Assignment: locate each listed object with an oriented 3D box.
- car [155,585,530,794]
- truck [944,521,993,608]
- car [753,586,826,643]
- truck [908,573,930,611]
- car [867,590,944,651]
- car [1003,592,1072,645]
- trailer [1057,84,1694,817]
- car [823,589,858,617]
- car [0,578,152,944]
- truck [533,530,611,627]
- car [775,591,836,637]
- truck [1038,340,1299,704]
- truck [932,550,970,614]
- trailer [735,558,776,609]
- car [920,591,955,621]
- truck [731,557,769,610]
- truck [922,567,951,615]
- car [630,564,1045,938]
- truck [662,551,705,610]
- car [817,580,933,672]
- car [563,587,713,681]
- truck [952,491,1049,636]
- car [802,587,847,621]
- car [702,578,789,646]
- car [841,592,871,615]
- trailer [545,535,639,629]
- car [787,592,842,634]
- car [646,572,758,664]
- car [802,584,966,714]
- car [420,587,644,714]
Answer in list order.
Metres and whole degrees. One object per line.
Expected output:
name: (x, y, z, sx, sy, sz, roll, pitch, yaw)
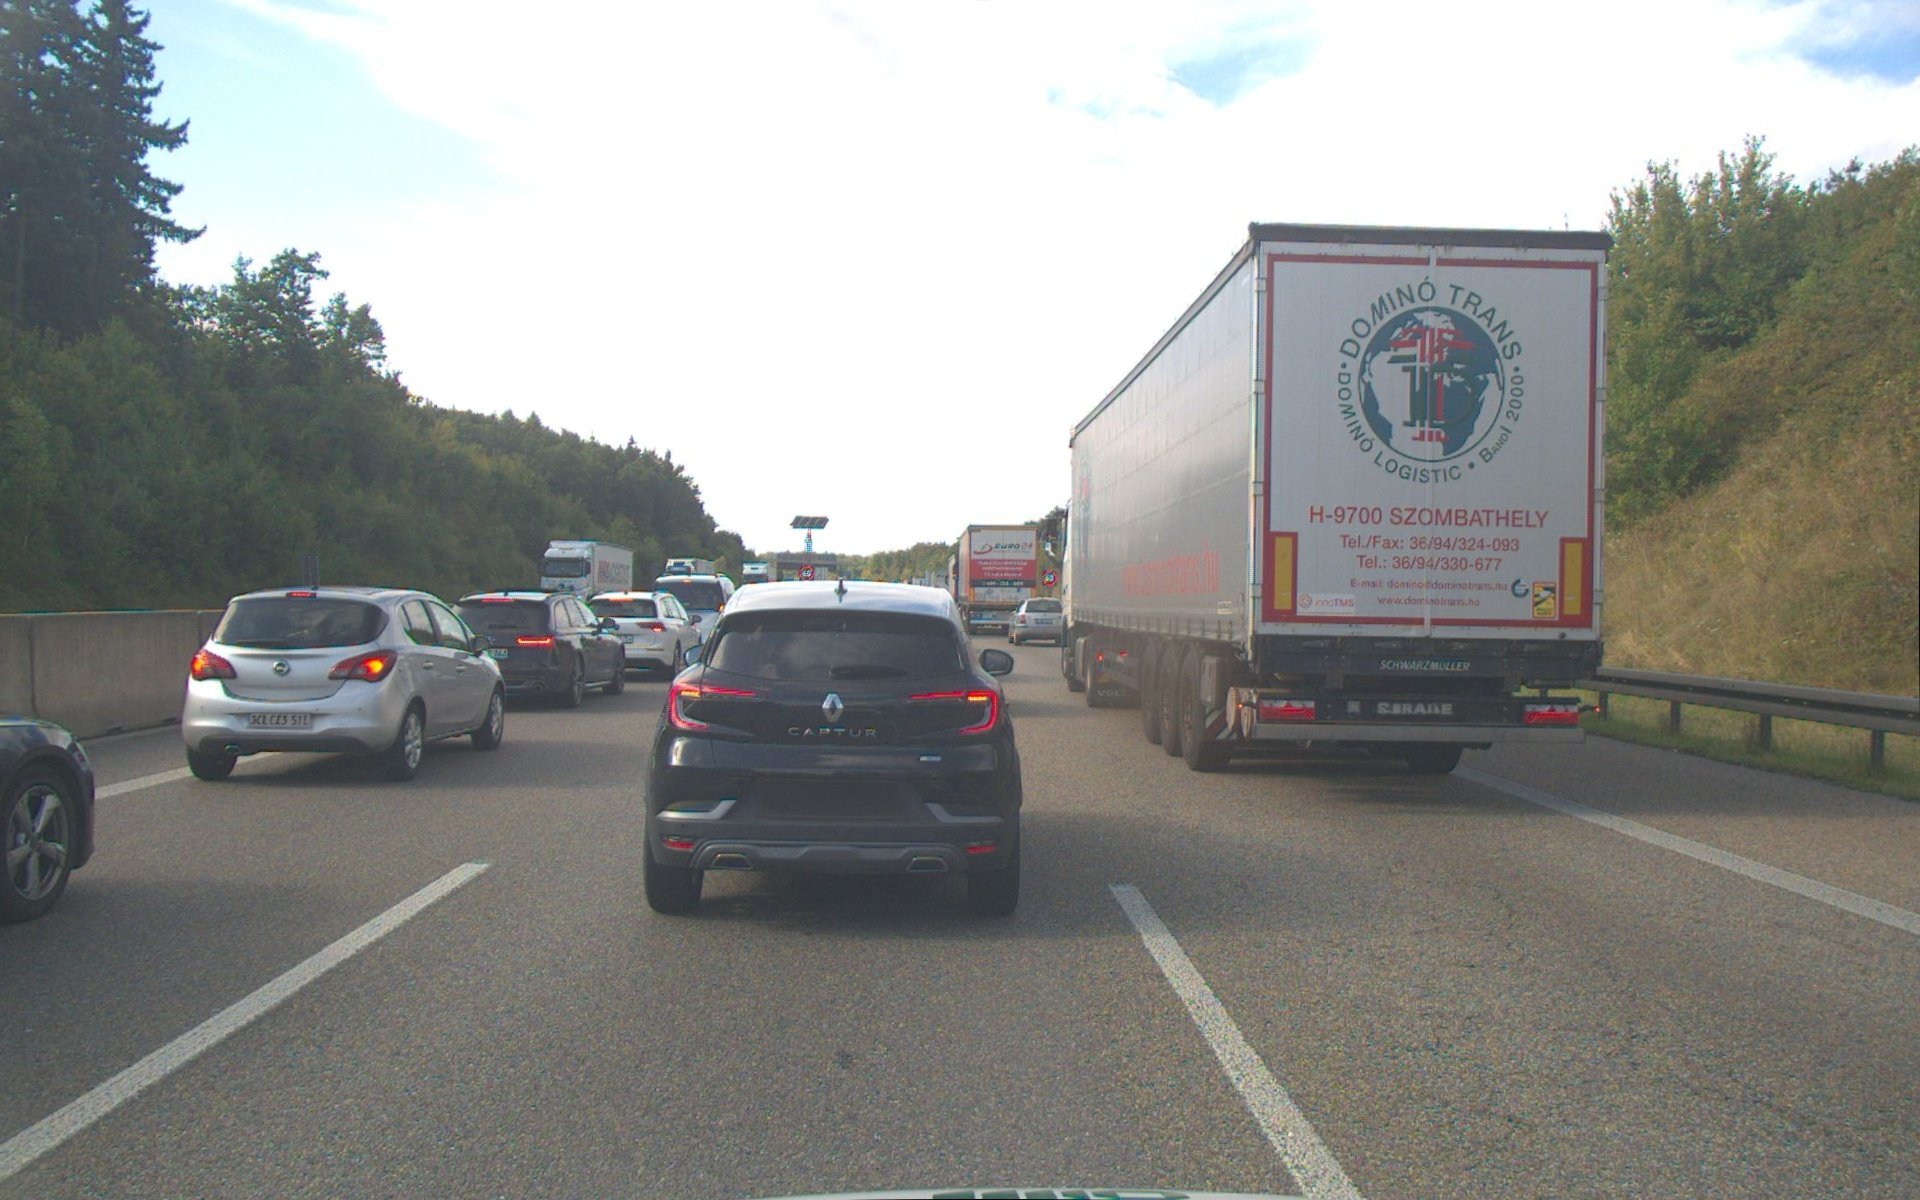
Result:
car: (-4.943, 0.623, 13.864, 1.711, 1.491, 4.040, 0, 0, -1)
truck: (0.507, -2.290, 114.278, 3.102, 5.601, 12.735, 1, 0, -1)
car: (-5.464, 0.467, 53.433, 1.953, 1.752, 3.999, 1, 0, -1)
truck: (-6.252, -1.156, 255.874, 3.102, 5.601, 12.735, 1, 0, -1)
car: (-1.425, 0.537, 44.517, 1.953, 1.540, 3.999, 1, 0, -1)
car: (2.365, 0.555, 51.053, 1.768, 1.559, 3.923, 1, 0, -2)
trailer: (3.125, -0.999, 17.463, 2.941, 4.742, 13.285, 1, 0, -2)
car: (-7.448, 0.176, 103.499, 1.953, 1.641, 3.999, 1, 0, -1)
car: (-4.836, 0.649, 5.576, 1.844, 1.497, 4.851, 1, 0, 0)
truck: (-22.317, -1.204, 95.569, 2.978, 5.344, 6.880, 1, 0, -2)
car: (-5.780, 0.508, 62.272, 1.953, 1.641, 3.999, 1, 0, -1)
truck: (2.891, -1.040, 24.757, 2.936, 4.749, 5.937, 1, 0, -2)
truck: (-0.749, -1.539, 152.220, 3.101, 5.601, 12.737, 1, 0, 1)
trailer: (-21.528, -1.619, 174.824, 3.026, 5.162, 13.829, 1, 0, -2)
car: (-1.288, 0.346, 94.622, 1.953, 1.641, 3.999, 1, 0, -1)
truck: (-21.298, -1.649, 168.050, 3.026, 5.190, 7.138, 1, 0, -2)
truck: (-2.609, -0.955, 186.345, 3.102, 5.250, 12.735, 1, 0, -1)
car: (-0.493, 0.646, 9.084, 1.767, 1.579, 4.000, 1, 0, 1)
truck: (-23.486, -1.622, 140.815, 2.872, 4.943, 4.764, 1, 0, -2)
car: (-1.484, 0.460, 30.363, 1.953, 1.540, 3.999, 1, 0, -1)
car: (-5.508, 0.561, 28.828, 1.768, 1.486, 4.308, 1, 0, 0)
truck: (1.422, -1.273, 65.779, 3.296, 5.132, 12.735, 1, 0, -1)
car: (-6.759, 0.176, 82.579, 1.953, 1.641, 3.999, 1, 0, -1)
car: (-5.654, 0.315, 43.973, 1.818, 1.669, 3.925, 1, 0, -1)
car: (-7.406, 0.233, 118.154, 1.953, 1.641, 3.999, 1, 0, -1)
trailer: (-22.530, -1.008, 102.077, 2.981, 5.373, 13.829, 1, 0, -2)
car: (-5.976, 0.538, 68.472, 1.953, 1.641, 3.999, 1, 0, -1)
car: (-5.513, 0.374, 35.800, 1.873, 1.821, 4.415, 1, 0, -2)
car: (-0.953, 0.607, 22.059, 1.953, 1.540, 3.999, 1, 0, -1)
car: (-5.556, 0.587, 22.074, 1.805, 1.481, 4.747, 1, 0, -1)
